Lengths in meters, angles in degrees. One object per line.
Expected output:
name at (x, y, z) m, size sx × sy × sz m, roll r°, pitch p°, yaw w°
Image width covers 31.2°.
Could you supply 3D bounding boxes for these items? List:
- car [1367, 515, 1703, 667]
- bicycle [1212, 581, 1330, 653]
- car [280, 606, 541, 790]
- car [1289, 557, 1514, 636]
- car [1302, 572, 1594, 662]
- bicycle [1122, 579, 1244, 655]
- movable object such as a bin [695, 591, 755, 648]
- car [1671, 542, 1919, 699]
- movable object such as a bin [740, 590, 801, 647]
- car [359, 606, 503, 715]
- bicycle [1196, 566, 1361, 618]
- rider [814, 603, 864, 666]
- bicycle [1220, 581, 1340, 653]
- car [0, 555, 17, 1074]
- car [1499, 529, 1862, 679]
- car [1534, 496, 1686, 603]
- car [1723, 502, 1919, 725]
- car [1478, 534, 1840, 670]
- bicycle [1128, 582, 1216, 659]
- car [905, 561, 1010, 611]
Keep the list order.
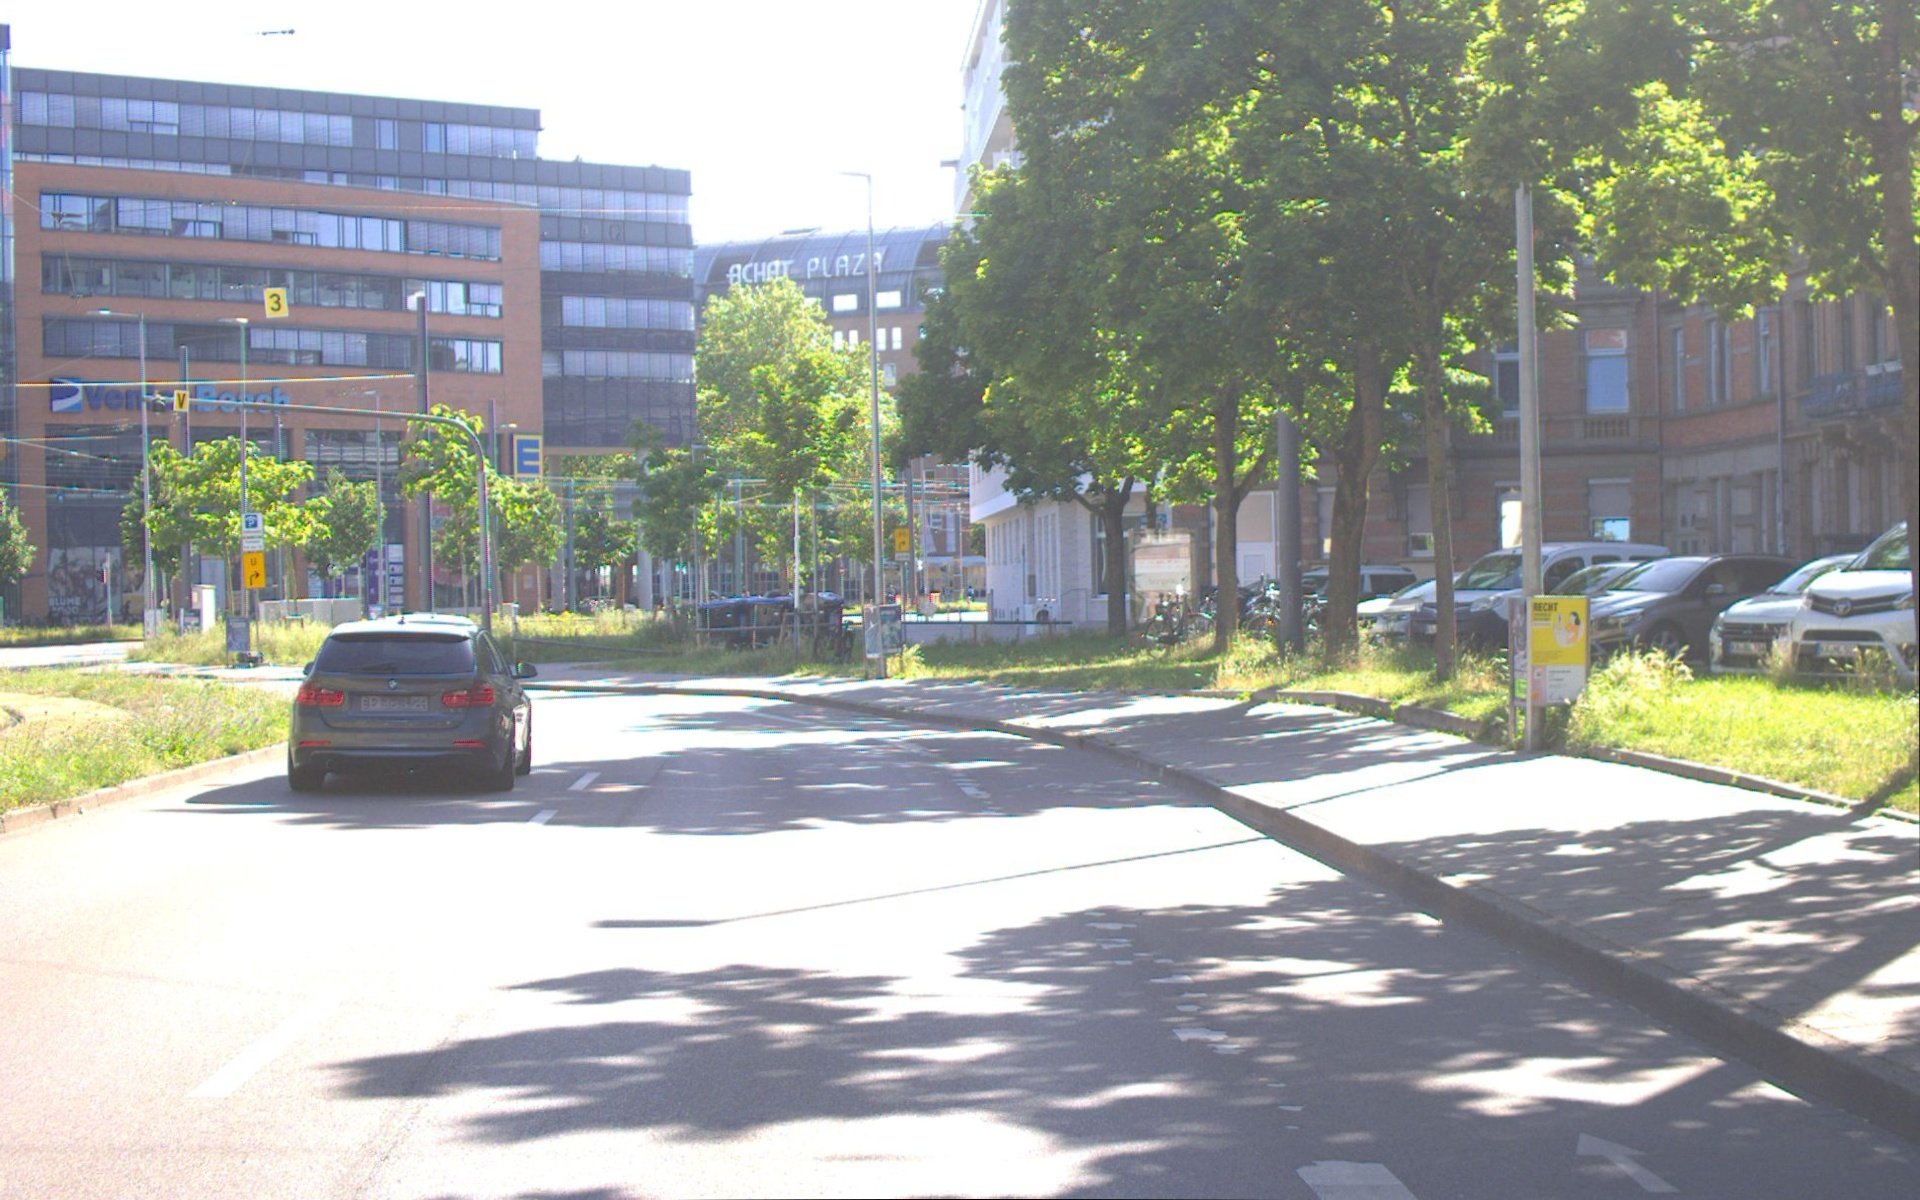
car at (8.656, -0.144, 51.608) m, size 4.866 × 2.006 × 2.100 m, roll -3°, pitch 0°, yaw -37°
bicycle at (5.564, 0.306, 61.579) m, size 1.957 × 1.188 × 0.841 m, roll -3°, pitch 0°, yaw -3°
car at (-4.595, 0.833, 29.305) m, size 1.734 × 1.418 × 4.467 m, roll 1°, pitch -2°, yaw -3°
car at (9.200, -0.080, 71.577) m, size 4.456 × 1.560 × 1.938 m, roll -1°, pitch 0°, yaw -34°
car at (8.196, 0.267, 57.560) m, size 4.738 × 1.375 × 2.045 m, roll -1°, pitch 0°, yaw -36°
bicycle at (4.099, 0.306, 63.169) m, size 2.093 × 1.360 × 0.787 m, roll -1°, pitch 0°, yaw -8°
movable object such as a bin at (-5.902, 0.495, 86.475) m, size 1.069 × 1.393 × 1.303 m, roll -1°, pitch 0°, yaw 17°
car at (9.514, 0.170, 35.862) m, size 4.018 × 1.473 × 1.812 m, roll -3°, pitch 0°, yaw -36°
movable object such as a bin at (-4.766, 0.462, 86.391) m, size 1.108 × 1.393 × 1.320 m, roll -1°, pitch 0°, yaw 17°
car at (-7.344, 0.850, 47.512) m, size 1.631 × 1.418 × 3.783 m, roll 2°, pitch -2°, yaw -13°
bicycle at (7.360, -0.186, 79.979) m, size 2.674 × 1.123 × 5.223 m, roll -1°, pitch 0°, yaw -8°
rider at (-2.368, 0.671, 67.239) m, size 0.502 × 1.172 × 1.675 m, roll -1°, pitch 1°, yaw 14°
bicycle at (5.636, 0.302, 60.657) m, size 1.944 × 1.176 × 0.900 m, roll -2°, pitch 0°, yaw -3°
car at (-3.957, 0.684, 8.991) m, size 1.836 × 1.676 × 4.643 m, roll 0°, pitch 0°, yaw -2°
car at (9.548, 0.051, 45.483) m, size 4.498 × 1.722 × 2.000 m, roll -3°, pitch 0°, yaw -32°
car at (15.367, -1.199, 81.531) m, size 2.349 × 2.349 × 5.188 m, roll -3°, pitch 1°, yaw -2°
car at (10.066, 0.030, 33.238) m, size 5.171 × 2.006 × 2.100 m, roll -3°, pitch 0°, yaw -32°
car at (9.949, 0.023, 48.822) m, size 4.865 × 1.642 × 2.100 m, roll -3°, pitch 0°, yaw -32°
bicycle at (3.744, 0.362, 60.661) m, size 0.769 × 1.285 × 1.594 m, roll -2°, pitch 1°, yaw 37°
car at (-0.114, -0.581, 142.803) m, size 3.989 × 2.007 × 1.999 m, roll -1°, pitch 0°, yaw 13°
